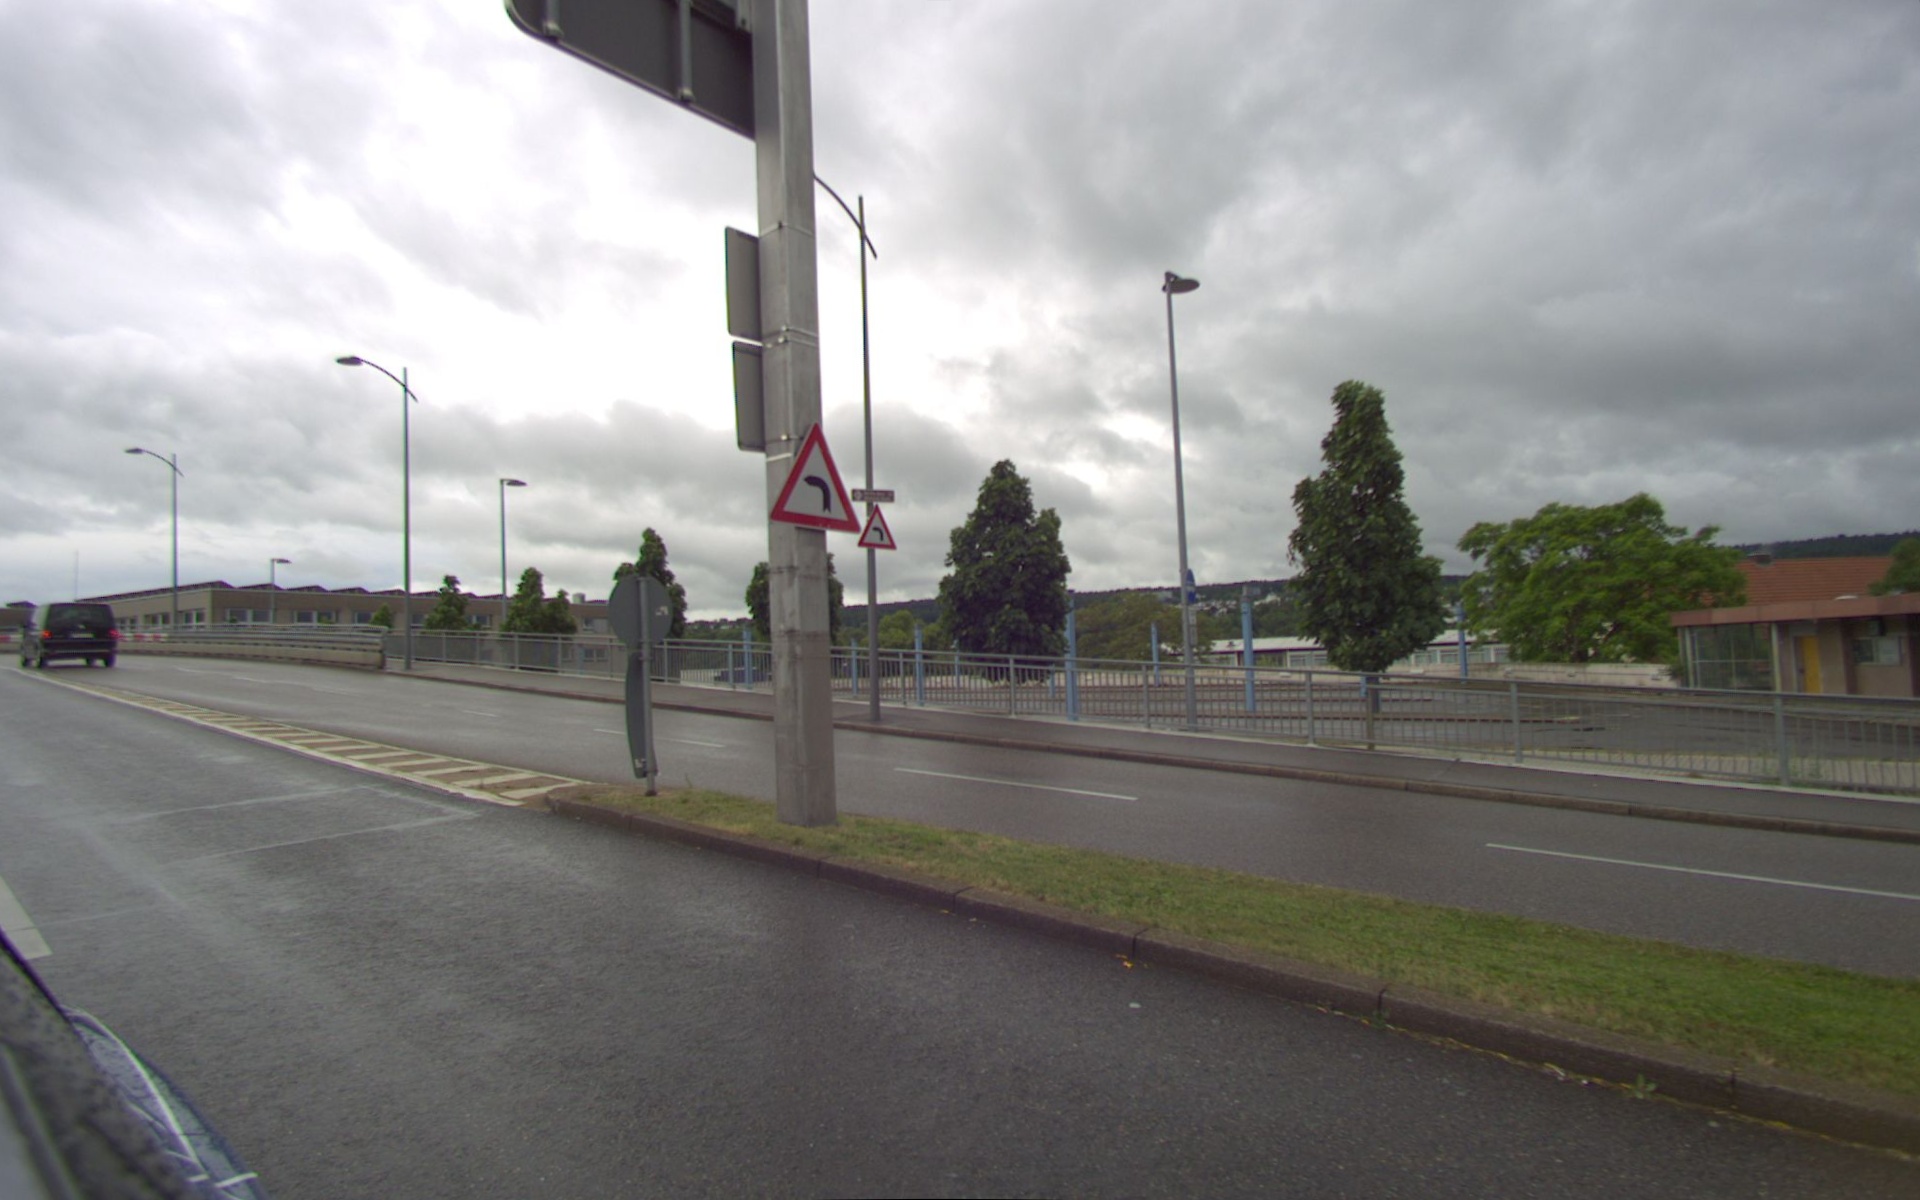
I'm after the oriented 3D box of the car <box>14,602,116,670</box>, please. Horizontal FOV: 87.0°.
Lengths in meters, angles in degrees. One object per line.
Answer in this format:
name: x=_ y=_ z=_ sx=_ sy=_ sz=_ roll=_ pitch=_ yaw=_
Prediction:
car: x=-28.059 y=1.111 z=31.690 sx=4.684 sy=1.983 sz=1.825 roll=-1 pitch=-2 yaw=42
